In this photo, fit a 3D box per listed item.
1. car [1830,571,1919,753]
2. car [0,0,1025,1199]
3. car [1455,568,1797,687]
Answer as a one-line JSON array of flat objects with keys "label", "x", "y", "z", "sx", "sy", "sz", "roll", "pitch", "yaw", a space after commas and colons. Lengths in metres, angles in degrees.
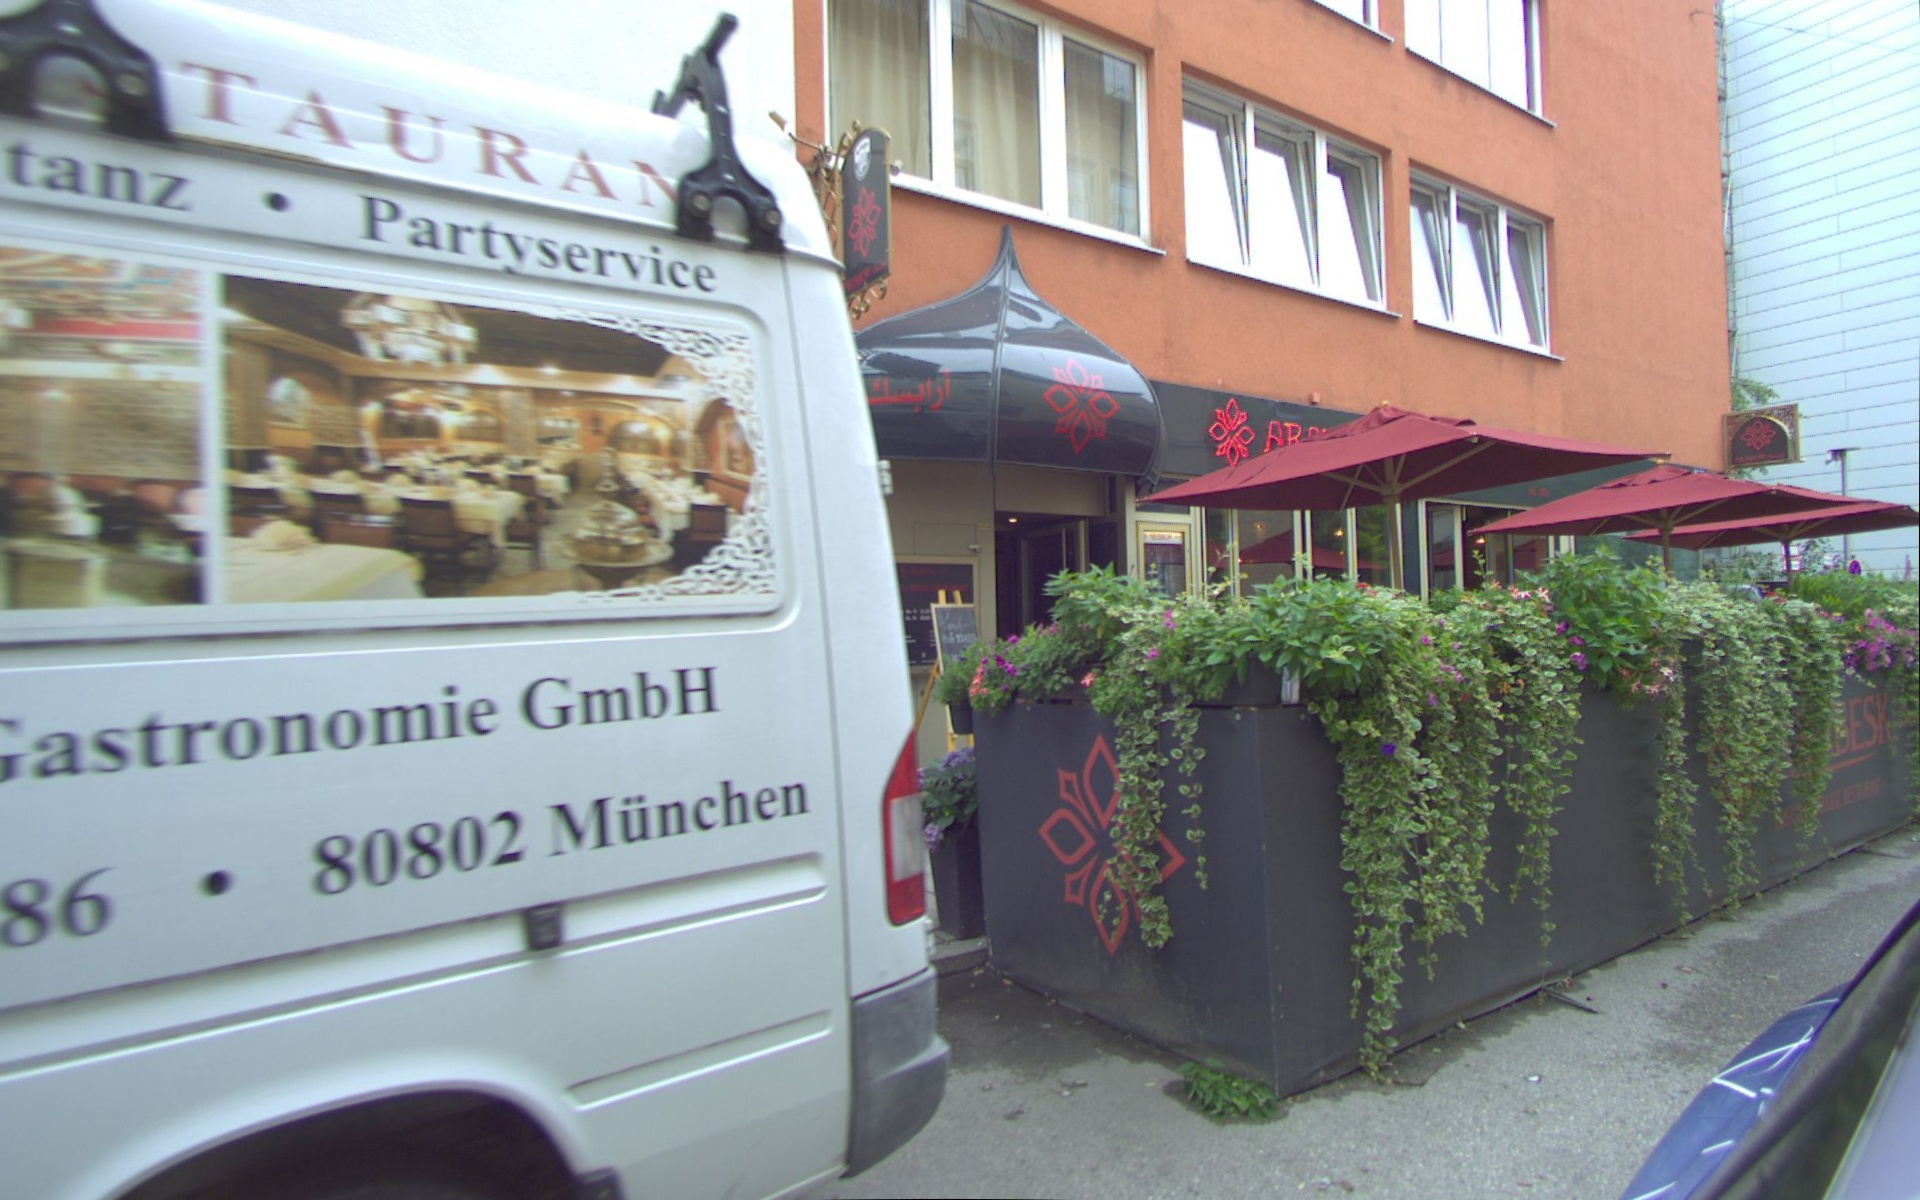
[{"label": "car", "x": 11.126, "y": 0.559, "z": 10.585, "sx": 4.303, "sy": 1.732, "sz": 1.830, "roll": -1, "pitch": -3, "yaw": -33}, {"label": "car", "x": -2.858, "y": 0.251, "z": 1.181, "sx": 5.882, "sy": 2.539, "sz": 1.926, "roll": 0, "pitch": -3, "yaw": -35}, {"label": "car", "x": 11.085, "y": 0.437, "z": 17.202, "sx": 1.805, "sy": 1.742, "sz": 4.476, "roll": 0, "pitch": -1, "yaw": -34}]
